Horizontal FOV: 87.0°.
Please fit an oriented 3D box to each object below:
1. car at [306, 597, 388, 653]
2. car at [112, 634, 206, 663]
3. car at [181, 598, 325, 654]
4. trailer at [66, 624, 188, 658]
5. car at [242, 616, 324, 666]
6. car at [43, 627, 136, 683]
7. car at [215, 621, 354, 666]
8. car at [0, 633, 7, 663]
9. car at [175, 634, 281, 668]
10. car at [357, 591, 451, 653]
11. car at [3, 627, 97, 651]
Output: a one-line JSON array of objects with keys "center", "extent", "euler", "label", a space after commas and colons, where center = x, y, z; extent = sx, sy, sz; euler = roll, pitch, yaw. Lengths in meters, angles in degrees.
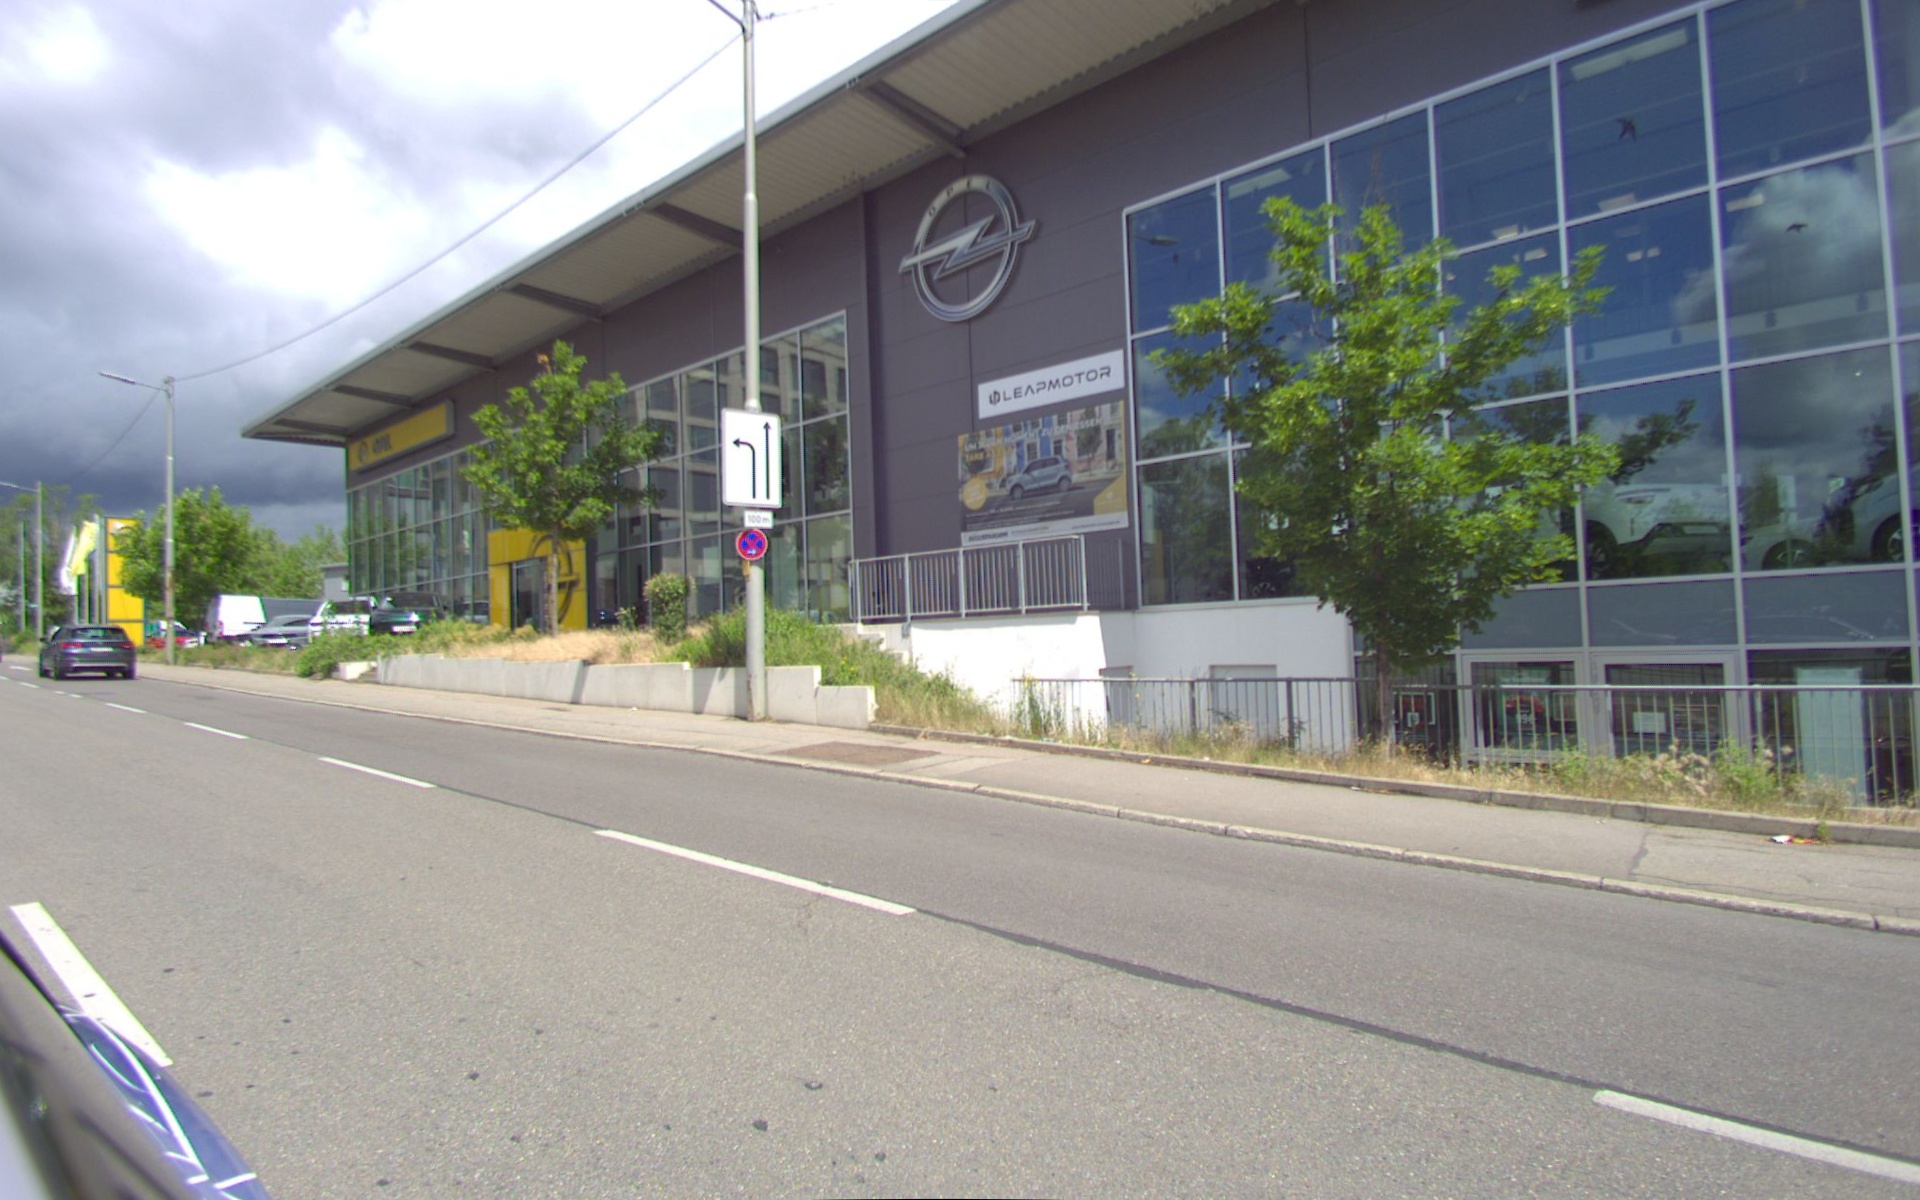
[{"center": [-19.244, 0.773, 31.911], "extent": [1.767, 1.625, 4.122], "euler": [0, -1, -25], "label": "car"}, {"center": [-42.017, 2.518, 53.112], "extent": [1.814, 1.420, 3.621], "euler": [-2, -2, 42], "label": "car"}, {"center": [-29.259, 1.053, 41.982], "extent": [2.177, 2.211, 4.475], "euler": [-1, -1, 39], "label": "car"}, {"center": [-45.361, 2.201, 55.181], "extent": [2.092, 1.765, 4.776], "euler": [-2, -2, 37], "label": "trailer"}, {"center": [-23.478, 1.399, 35.222], "extent": [1.767, 1.625, 4.122], "euler": [1, -2, -26], "label": "car"}, {"center": [-25.502, 1.566, 29.617], "extent": [1.738, 1.533, 3.960], "euler": [3, -3, -45], "label": "car"}, {"center": [-25.731, 1.634, 38.685], "extent": [1.792, 1.625, 4.064], "euler": [-2, -2, 32], "label": "car"}, {"center": [-47.176, 2.287, 48.534], "extent": [3.732, 1.424, 1.740], "euler": [-2, -4, 41], "label": "car"}, {"center": [-35.524, 2.439, 49.175], "extent": [1.559, 1.539, 3.897], "euler": [-2, -2, 38], "label": "car"}, {"center": [-15.655, 0.635, 28.711], "extent": [1.790, 1.625, 4.122], "euler": [0, -2, -21], "label": "car"}, {"center": [-58.020, 2.473, 64.568], "extent": [2.093, 1.493, 4.200], "euler": [-2, -2, 38], "label": "car"}]
